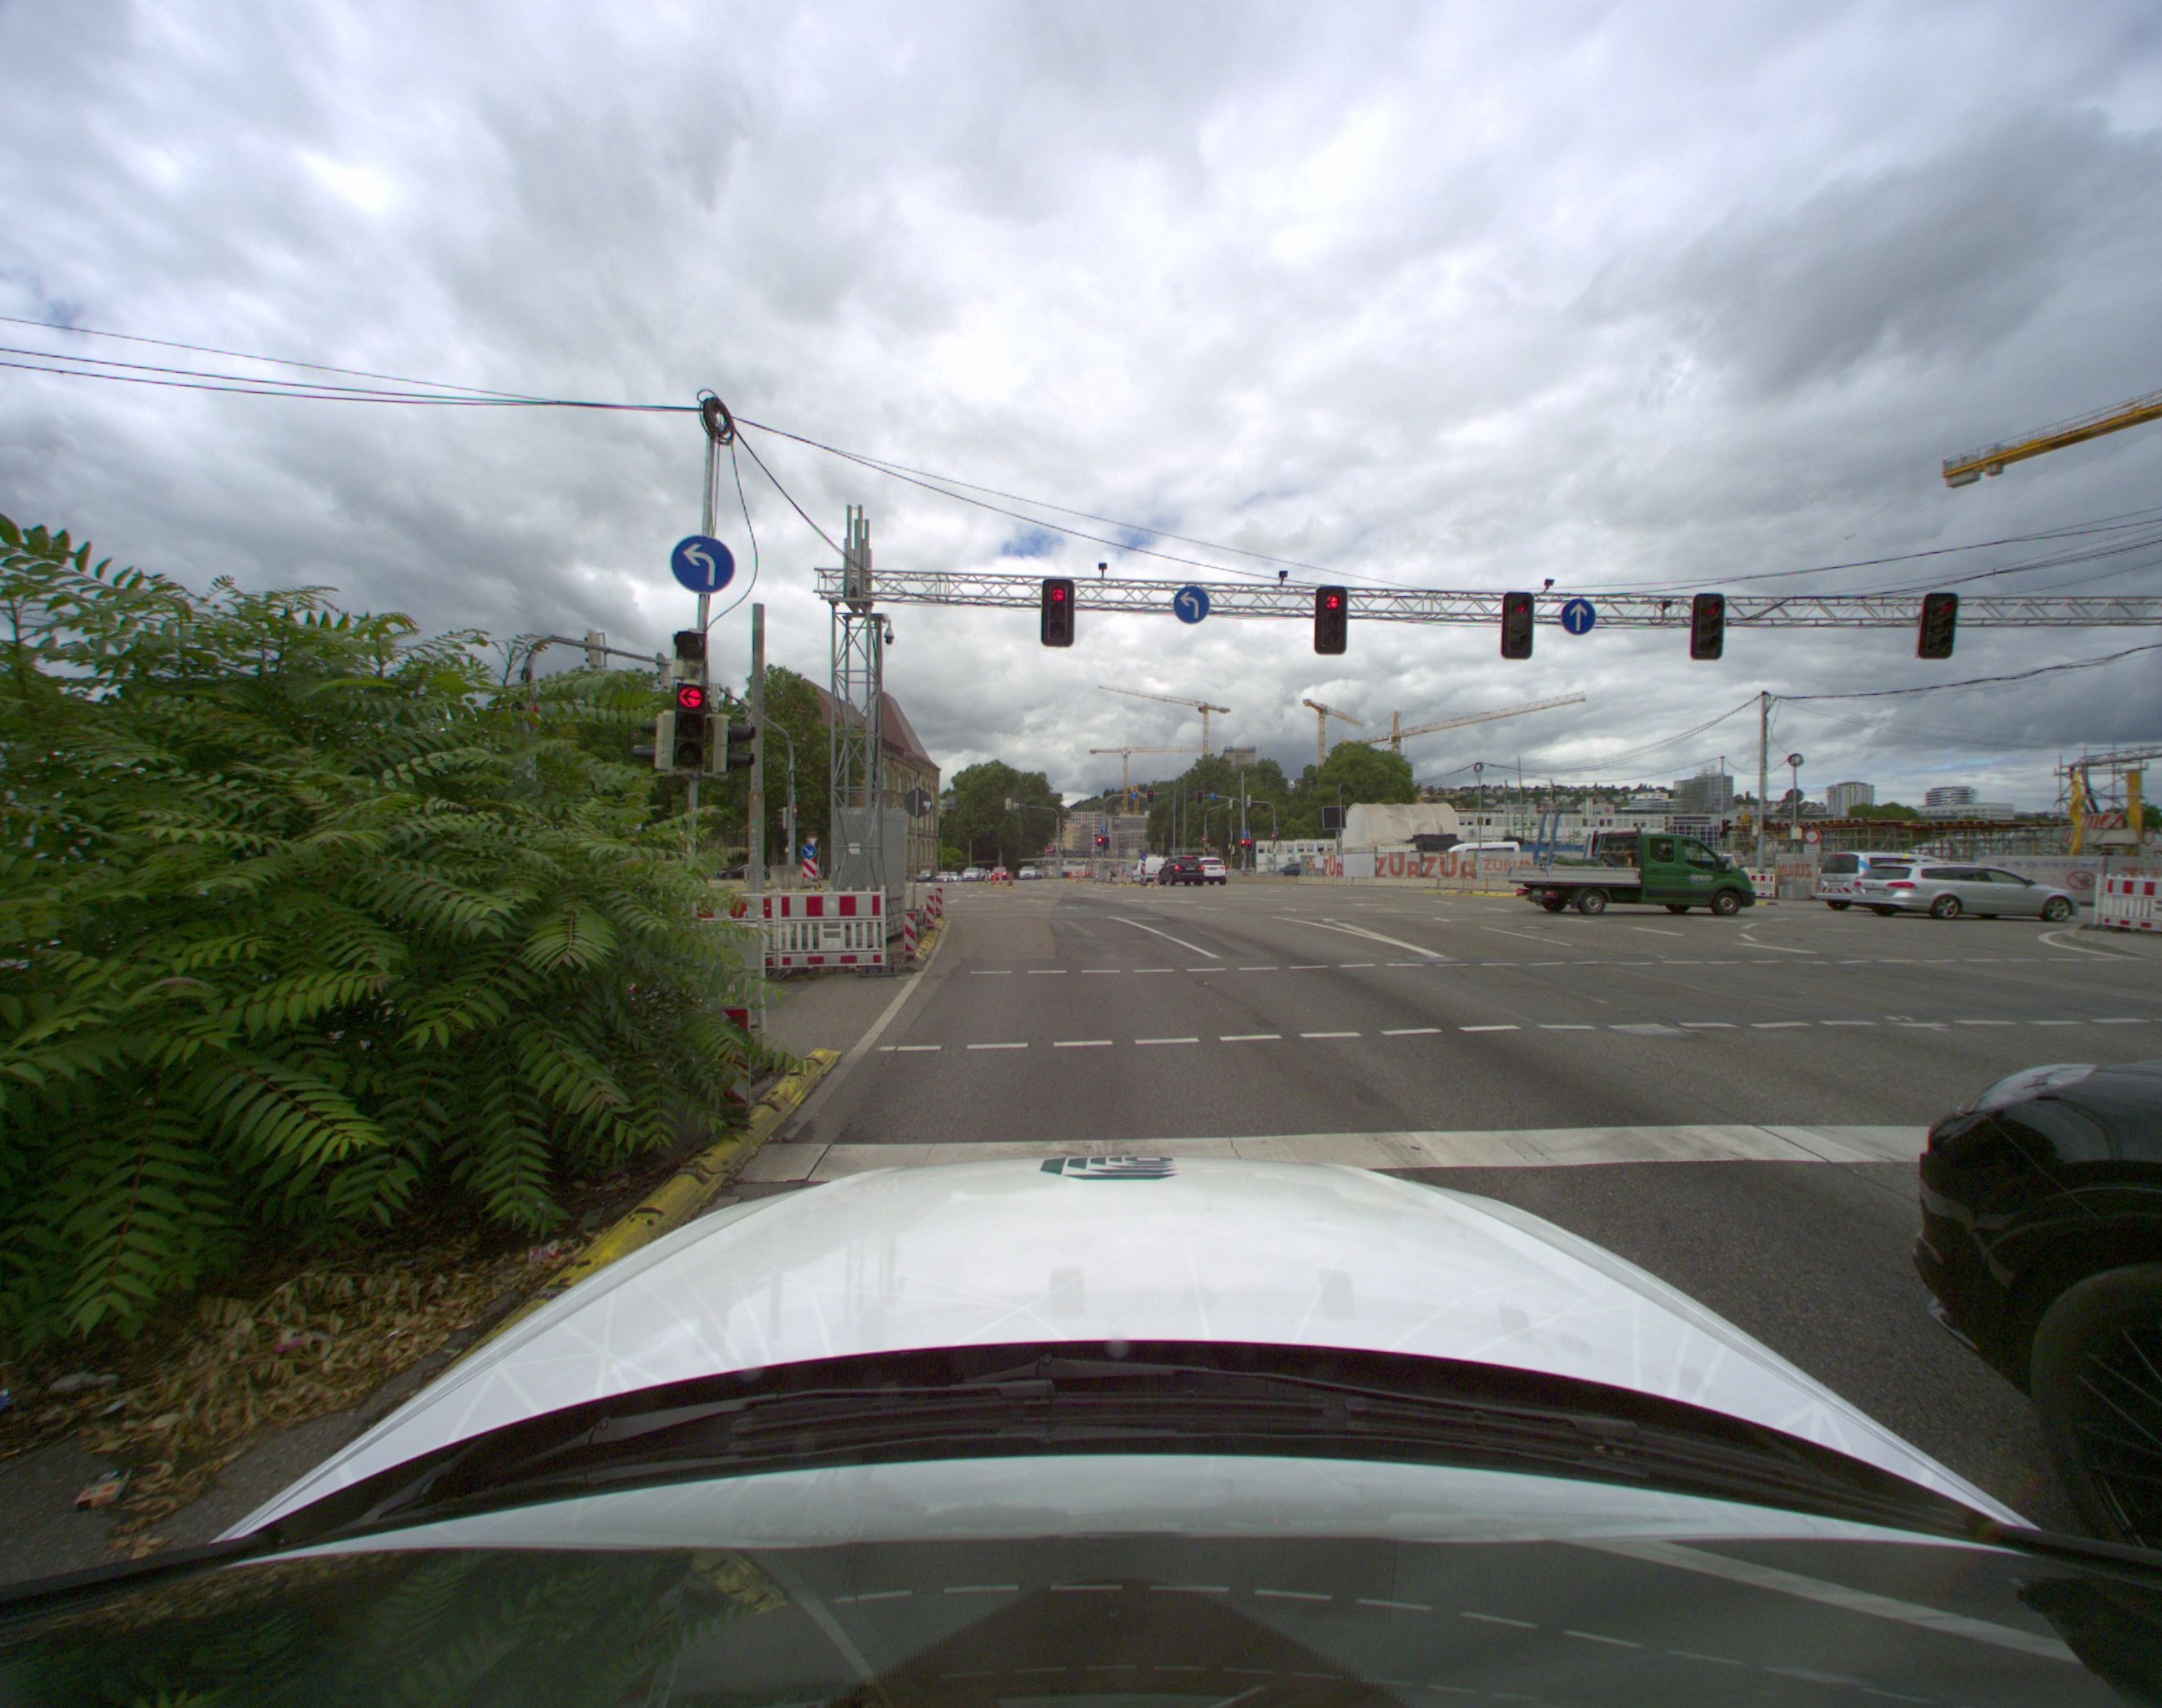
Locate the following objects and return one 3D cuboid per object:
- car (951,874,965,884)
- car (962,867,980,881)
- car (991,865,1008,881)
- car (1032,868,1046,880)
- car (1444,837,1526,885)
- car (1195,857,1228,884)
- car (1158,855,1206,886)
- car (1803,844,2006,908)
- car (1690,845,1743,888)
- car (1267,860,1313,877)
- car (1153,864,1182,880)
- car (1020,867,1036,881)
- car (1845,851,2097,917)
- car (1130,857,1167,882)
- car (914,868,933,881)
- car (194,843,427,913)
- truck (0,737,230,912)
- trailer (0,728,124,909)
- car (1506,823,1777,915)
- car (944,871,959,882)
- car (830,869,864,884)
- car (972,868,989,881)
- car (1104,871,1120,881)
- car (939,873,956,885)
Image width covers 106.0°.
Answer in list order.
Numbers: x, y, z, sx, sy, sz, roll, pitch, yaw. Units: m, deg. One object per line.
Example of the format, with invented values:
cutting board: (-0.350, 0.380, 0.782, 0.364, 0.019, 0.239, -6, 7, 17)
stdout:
car: (-17.490, 3.548, 116.313, 1.673, 1.398, 3.677, 0, -1, -4)
car: (-11.618, 2.113, 86.080, 1.673, 1.398, 3.677, 0, -1, -4)
car: (-8.478, 1.991, 85.095, 1.673, 1.580, 3.677, 0, -1, -4)
car: (-5.128, 2.442, 98.724, 1.673, 1.398, 3.677, 0, -1, -4)
car: (23.227, 0.422, 46.972, 3.957, 2.662, 1.688, -1, -1, 15)
car: (8.476, 1.053, 53.001, 1.670, 1.702, 3.375, 0, -1, 2)
car: (5.956, 0.939, 48.495, 1.830, 1.746, 4.244, 0, -1, -8)
car: (25.160, 0.659, 25.010, 4.248, 1.882, 1.832, 0, -1, 3)
car: (30.128, 0.561, 38.698, 1.755, 1.954, 3.146, -1, -1, 34)
car: (20.478, 1.429, 79.909, 3.996, 1.625, 1.812, 0, -1, -17)
car: (8.020, 1.676, 75.960, 1.680, 1.398, 3.069, 0, -1, -16)
car: (-5.587, 2.064, 85.393, 1.673, 1.398, 3.677, 0, -1, -4)
car: (23.300, 0.770, 21.445, 4.692, 1.625, 1.682, 0, -1, 2)
car: (4.565, 1.016, 55.579, 1.814, 1.625, 3.992, 0, -1, -5)
car: (-17.818, 2.361, 92.337, 1.673, 1.398, 3.677, 0, -1, -4)
car: (-19.177, 0.579, 20.422, 4.041, 1.625, 1.829, 0, -1, -1)
truck: (-25.309, -0.672, 20.332, 4.864, 4.064, 2.942, 0, -1, -3)
trailer: (-32.429, -0.775, 20.009, 13.708, 4.281, 2.945, 0, -1, -3)
car: (14.933, 0.400, 21.986, 5.739, 2.305, 2.303, 0, -1, 0)
car: (-17.311, 2.990, 109.144, 1.673, 1.398, 3.677, 0, -1, -4)
car: (-22.723, 2.207, 79.137, 1.665, 1.398, 3.693, -1, -1, 10)
car: (-11.363, 2.262, 92.237, 1.673, 1.398, 3.677, 0, -1, -4)
car: (4.411, 3.146, 115.859, 1.674, 1.398, 3.674, 0, -1, -6)
car: (-16.727, 3.124, 102.103, 1.673, 1.398, 3.677, 0, -1, -4)
